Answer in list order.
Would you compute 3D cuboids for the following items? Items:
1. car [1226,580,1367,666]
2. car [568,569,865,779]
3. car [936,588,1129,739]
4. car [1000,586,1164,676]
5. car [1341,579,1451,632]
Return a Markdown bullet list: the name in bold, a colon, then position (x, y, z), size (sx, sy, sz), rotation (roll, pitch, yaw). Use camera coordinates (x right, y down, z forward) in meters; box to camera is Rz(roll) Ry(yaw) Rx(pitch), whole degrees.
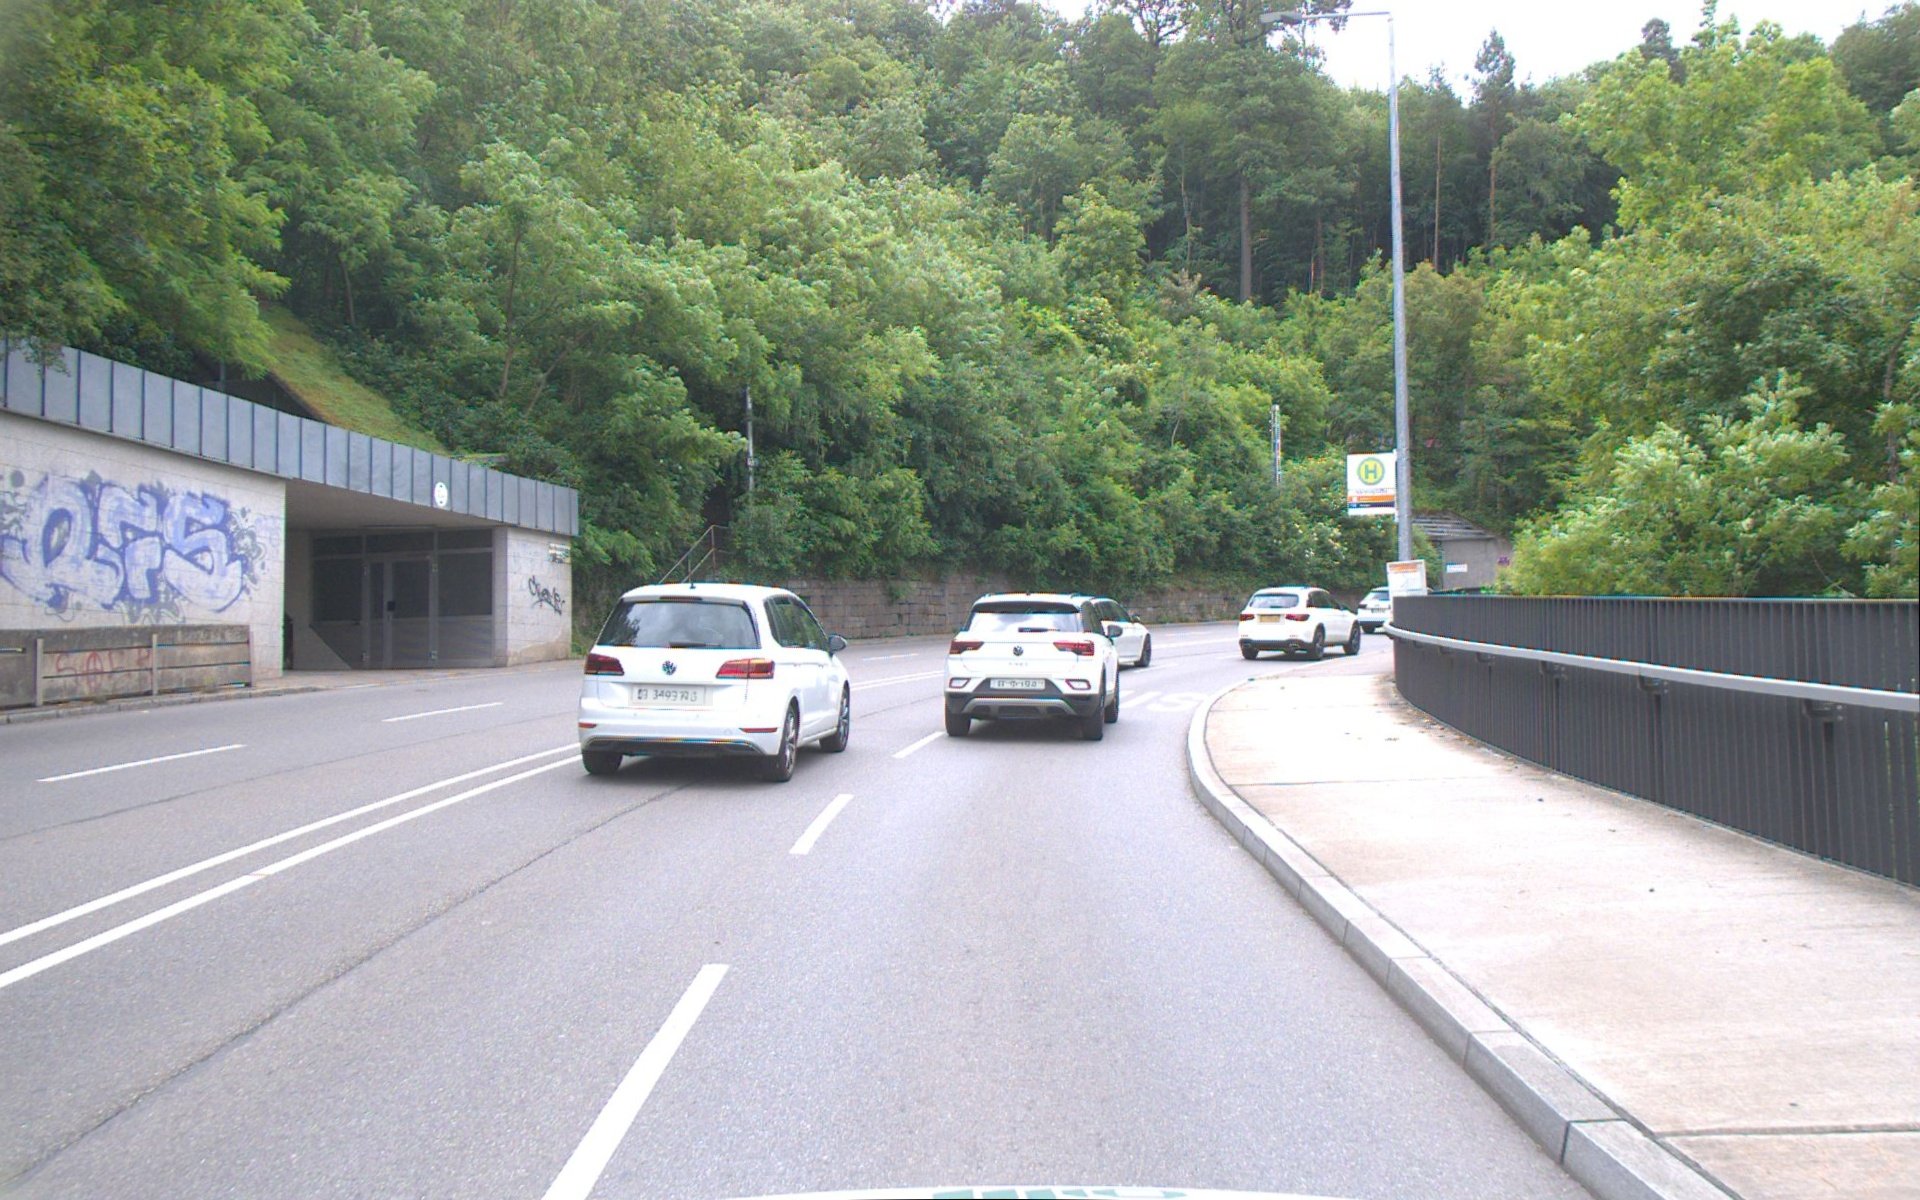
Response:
- **car**: position (8.052, 0.559, 39.328), size (1.957, 1.875, 4.140), rotation (2, -1, 31)
- **car**: position (-1.999, 0.562, 14.837), size (1.684, 1.581, 4.278), rotation (1, 0, 5)
- **car**: position (0.951, 0.694, 19.316), size (1.775, 1.566, 4.011), rotation (0, -1, 9)
- **car**: position (2.561, 0.555, 33.534), size (1.953, 1.584, 4.681), rotation (3, 2, 21)
- **car**: position (14.081, 0.197, 53.257), size (1.715, 1.545, 4.285), rotation (2, -1, 40)
